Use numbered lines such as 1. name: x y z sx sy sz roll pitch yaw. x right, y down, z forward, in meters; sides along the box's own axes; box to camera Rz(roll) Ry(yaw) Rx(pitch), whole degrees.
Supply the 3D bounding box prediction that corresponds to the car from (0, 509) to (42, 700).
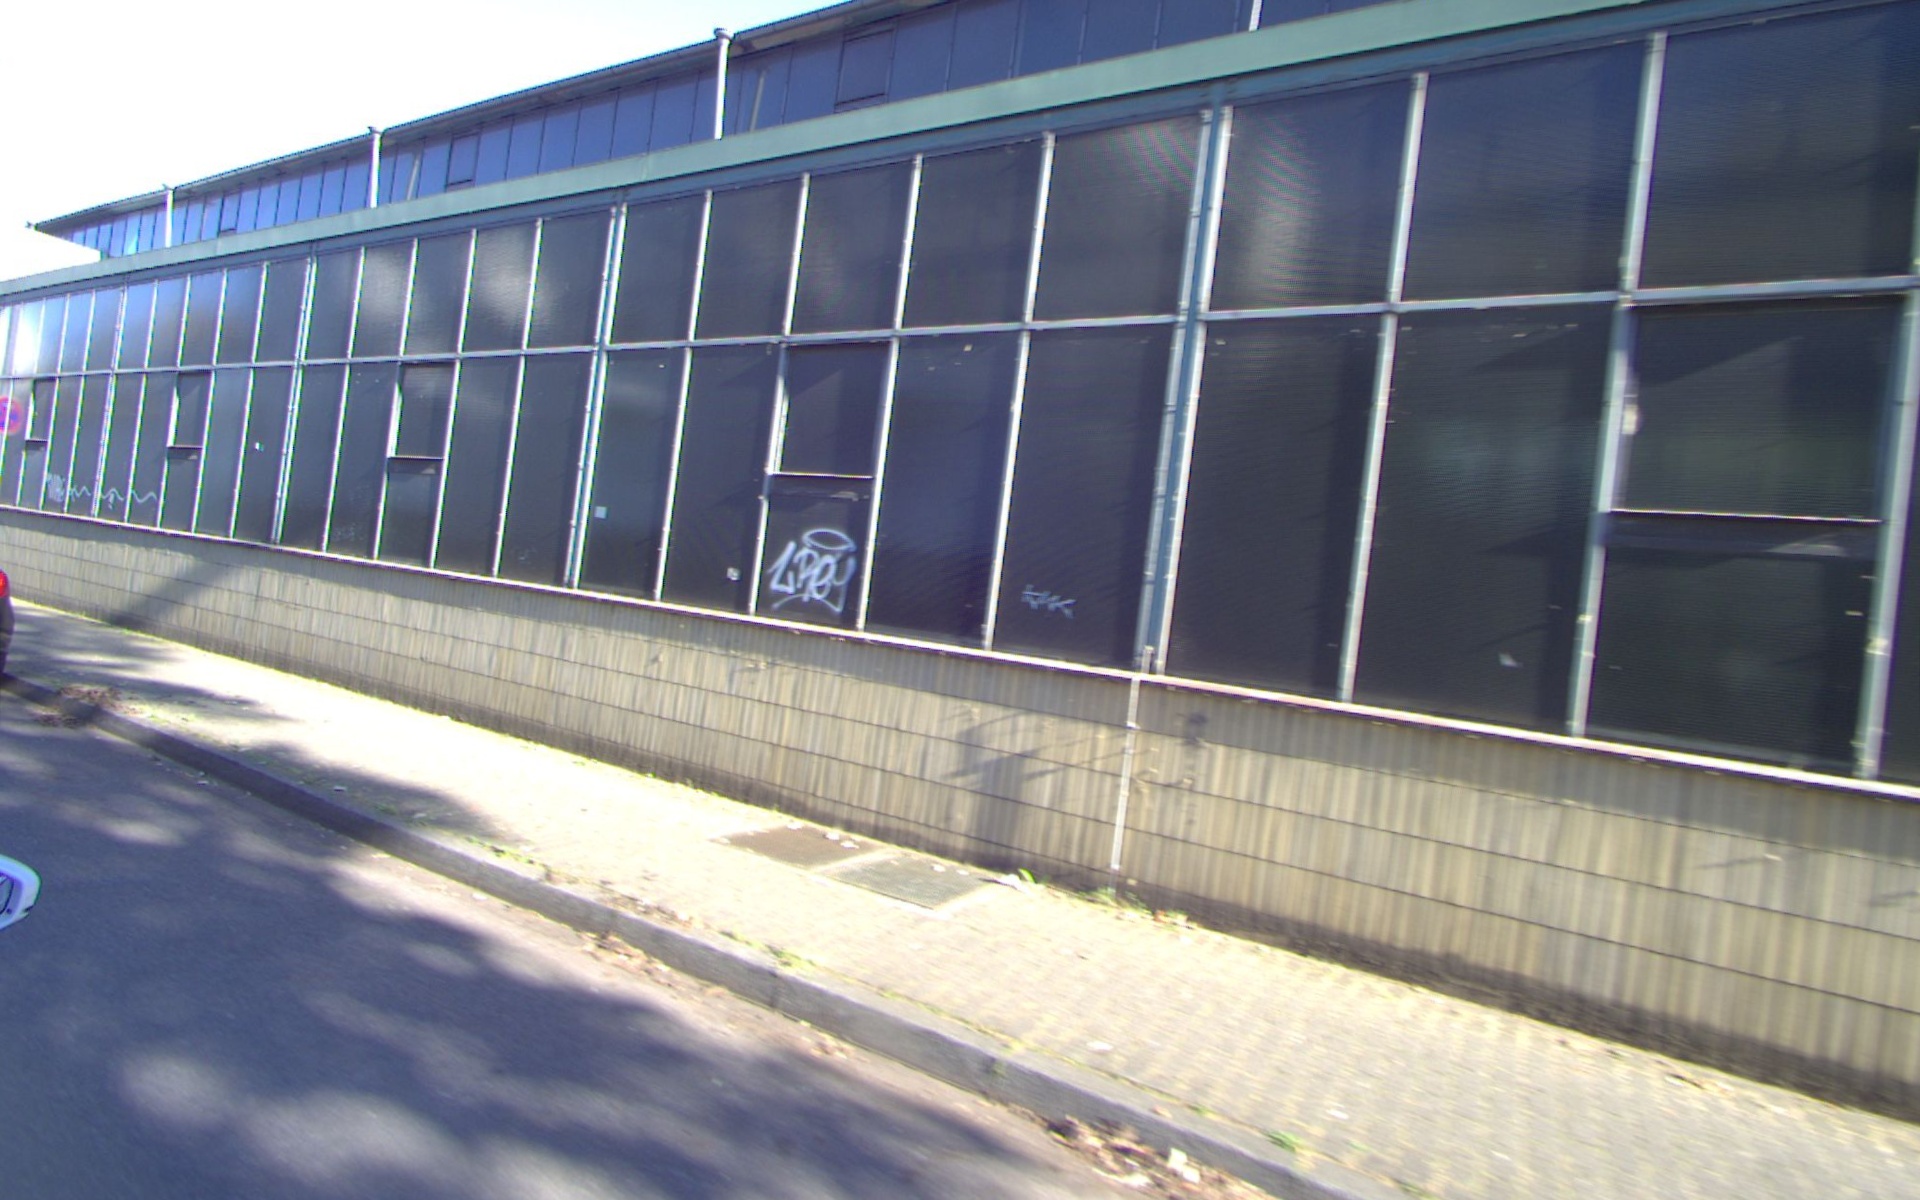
1. car: -9.887 -0.252 8.597 4.546 1.507 1.755 6 -3 33
